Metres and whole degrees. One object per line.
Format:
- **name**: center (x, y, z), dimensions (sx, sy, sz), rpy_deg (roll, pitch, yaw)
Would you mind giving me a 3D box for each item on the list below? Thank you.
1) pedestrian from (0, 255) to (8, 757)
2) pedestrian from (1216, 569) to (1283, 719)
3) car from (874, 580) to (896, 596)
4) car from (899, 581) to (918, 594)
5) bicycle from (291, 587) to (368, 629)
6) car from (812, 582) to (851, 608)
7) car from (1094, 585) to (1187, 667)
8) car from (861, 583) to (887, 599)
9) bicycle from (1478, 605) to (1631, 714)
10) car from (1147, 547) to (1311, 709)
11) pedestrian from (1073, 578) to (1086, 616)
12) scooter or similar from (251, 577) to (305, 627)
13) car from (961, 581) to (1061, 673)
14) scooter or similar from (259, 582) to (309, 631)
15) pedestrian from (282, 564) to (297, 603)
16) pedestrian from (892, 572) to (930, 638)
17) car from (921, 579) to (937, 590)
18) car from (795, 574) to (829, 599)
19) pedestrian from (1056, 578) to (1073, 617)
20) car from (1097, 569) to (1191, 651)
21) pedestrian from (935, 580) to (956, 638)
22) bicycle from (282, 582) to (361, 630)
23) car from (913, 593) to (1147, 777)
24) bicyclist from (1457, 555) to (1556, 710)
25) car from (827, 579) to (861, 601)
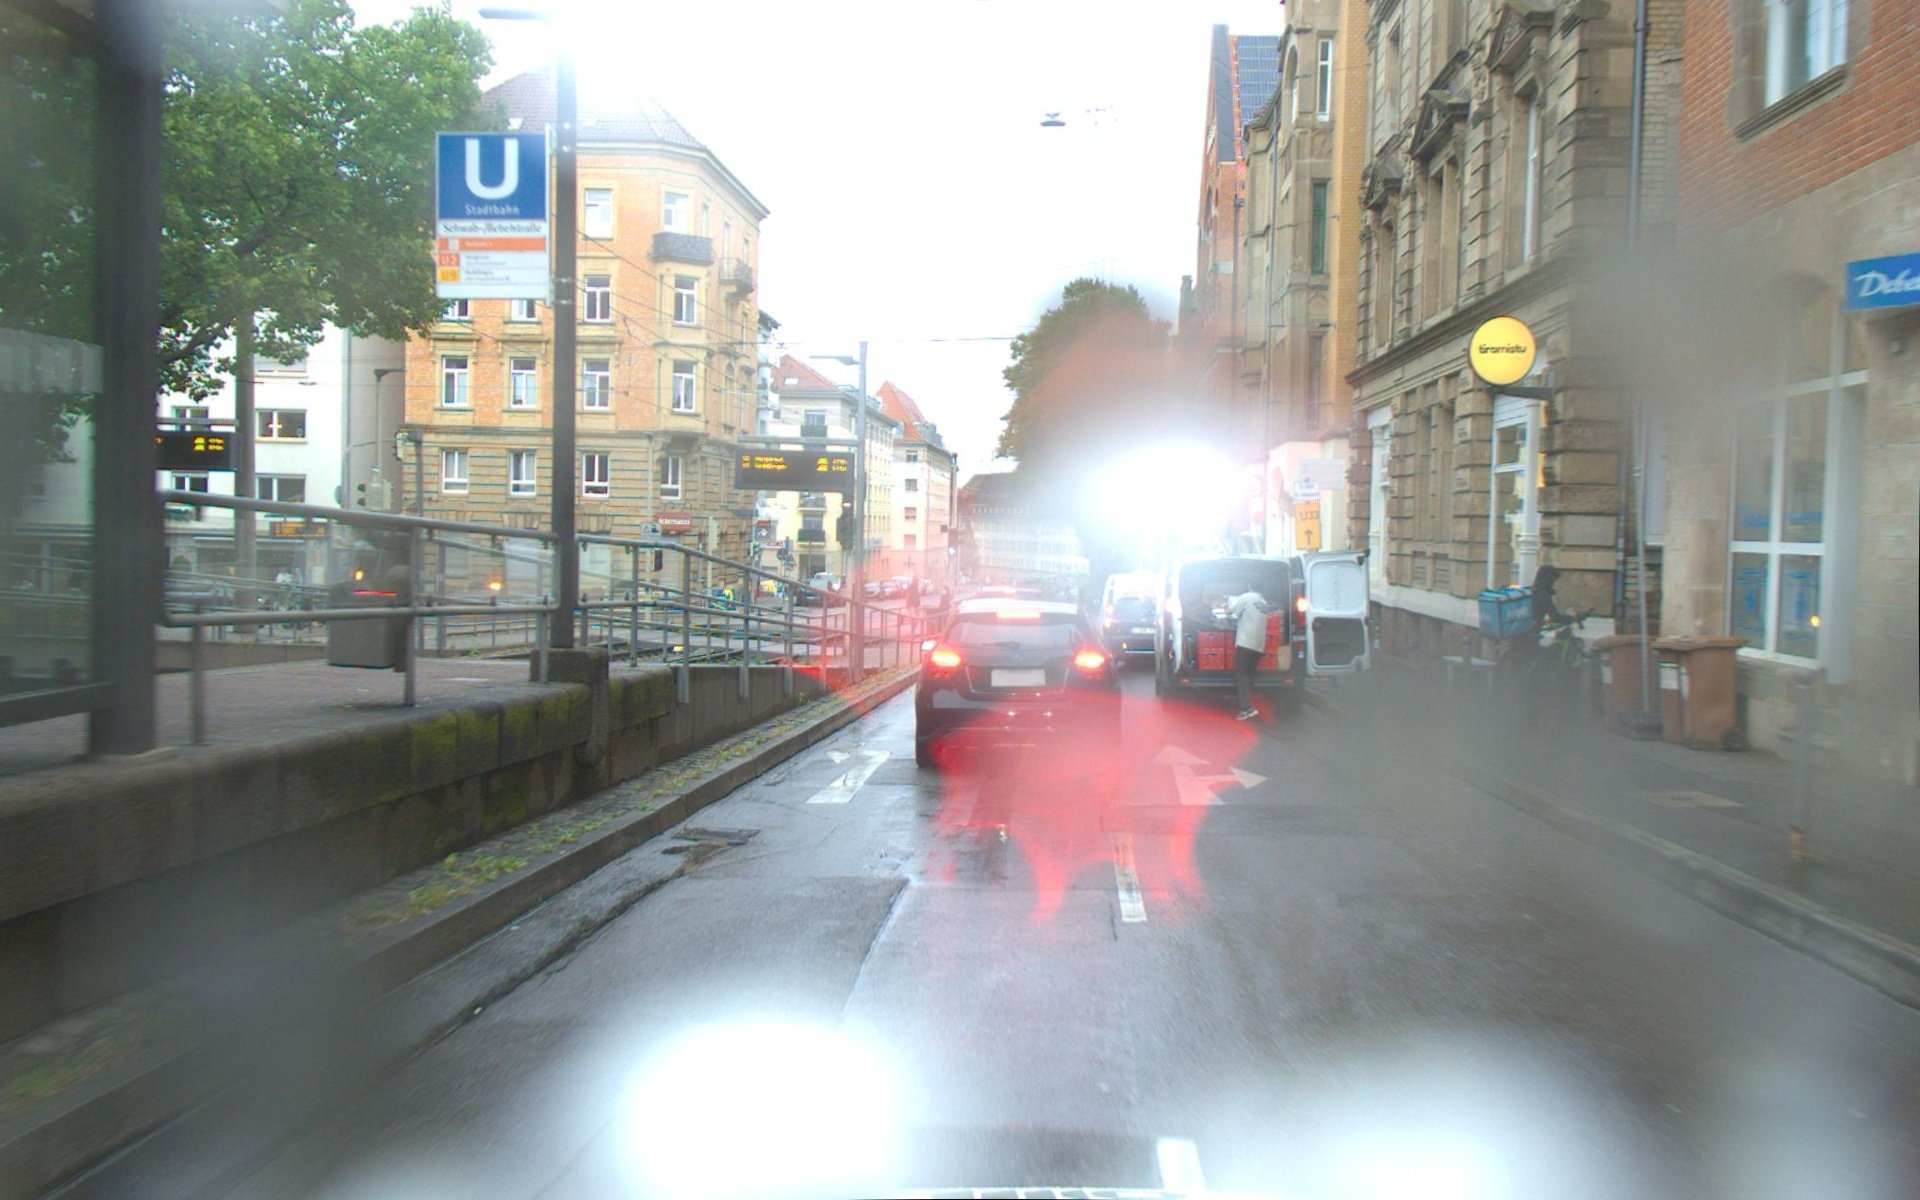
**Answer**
- **pedestrian**: center (-3.407, -0.301, 5.115), dimensions (0.600, 1.609, 0.507), rpy_deg (1, 0, 7)
- **pedestrian**: center (3.512, 0.527, 20.114), dimensions (0.670, 1.784, 0.836), rpy_deg (0, 0, 1)
- **car**: center (-6.047, -0.972, 133.279), dimensions (1.366, 1.191, 3.164), rpy_deg (1, 1, 4)
- **car**: center (-4.660, -1.167, 150.865), dimensions (1.366, 1.191, 3.164), rpy_deg (1, 1, 4)
- **bicycle**: center (-16.827, 0.210, 44.173), dimensions (1.835, 1.080, 0.517), rpy_deg (1, 0, -8)
- **car**: center (-7.840, -0.332, 101.094), dimensions (1.749, 1.556, 4.464), rpy_deg (1, 1, 3)
- **car**: center (3.648, 0.467, 32.937), dimensions (1.677, 1.494, 4.284), rpy_deg (1, 1, 8)
- **car**: center (-6.216, -0.630, 119.862), dimensions (1.406, 1.126, 3.164), rpy_deg (1, 1, 4)
- **bicycle**: center (6.488, 0.633, 18.042), dimensions (1.658, 1.135, 0.462), rpy_deg (0, 0, -20)
- **car**: center (3.584, 0.328, 22.765), dimensions (1.880, 1.969, 4.688), rpy_deg (1, 0, 5)
- **pedestrian**: center (5.307, -0.129, 73.596), dimensions (0.507, 1.695, 0.477), rpy_deg (2, 1, 7)
- **scooter or similar**: center (-17.151, 0.050, 41.626), dimensions (0.294, 1.216, 1.243), rpy_deg (1, 1, 43)
- **car**: center (0.910, 0.420, 29.093), dimensions (1.645, 1.515, 3.614), rpy_deg (0, 1, 2)
- **scooter or similar**: center (-16.821, 0.161, 41.169), dimensions (0.356, 1.216, 1.105), rpy_deg (1, 1, 43)
- **pedestrian**: center (-29.056, -0.710, 71.669), dimensions (0.512, 1.650, 0.480), rpy_deg (1, 0, -35)
- **pedestrian**: center (-1.325, 0.133, 45.030), dimensions (0.734, 1.754, 0.731), rpy_deg (1, 0, -39)
- **car**: center (-3.249, -1.616, 172.626), dimensions (1.366, 1.191, 3.164), rpy_deg (1, 1, 4)
- **car**: center (-8.413, -0.785, 94.230), dimensions (1.421, 1.341, 3.297), rpy_deg (2, 1, 3)
- **pedestrian**: center (4.615, -0.126, 72.883), dimensions (0.664, 1.690, 0.677), rpy_deg (0, 0, 10)
- **car**: center (4.403, 0.199, 40.134), dimensions (1.893, 1.863, 4.282), rpy_deg (1, 1, 1)
- **pedestrian**: center (-0.398, 0.249, 44.706), dimensions (0.521, 1.557, 0.436), rpy_deg (1, 0, -4)
- **bicycle**: center (-16.664, 0.144, 43.218), dimensions (1.835, 1.216, 0.517), rpy_deg (1, 0, -7)
- **car**: center (0.729, 0.669, 15.244), dimensions (1.855, 1.414, 4.003), rpy_deg (1, 1, 5)
- **bicyclist**: center (6.082, 0.351, 18.408), dimensions (0.834, 1.686, 0.628), rpy_deg (0, 0, -18)
- **car**: center (-7.490, -0.681, 107.146), dimensions (1.645, 1.379, 3.705), rpy_deg (1, 1, 4)
